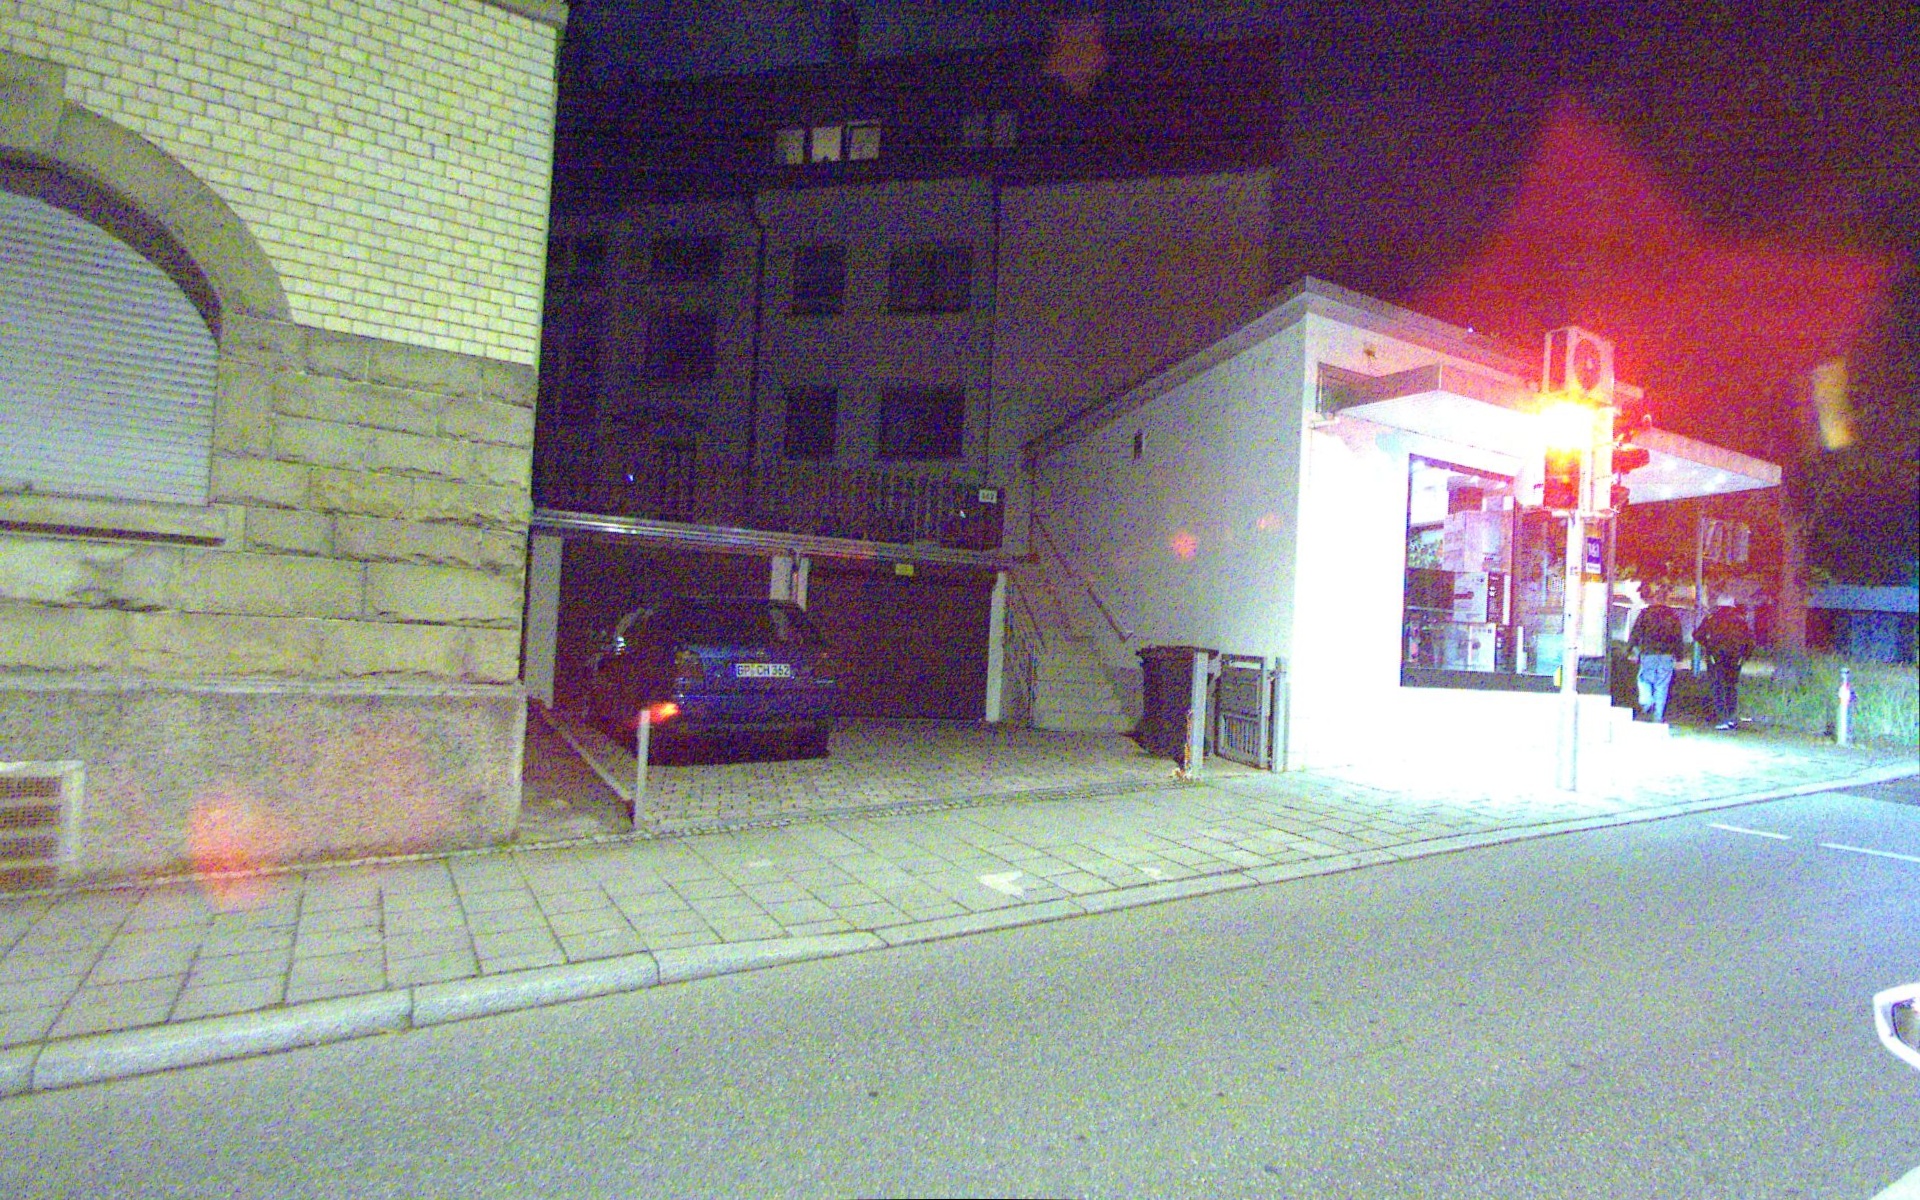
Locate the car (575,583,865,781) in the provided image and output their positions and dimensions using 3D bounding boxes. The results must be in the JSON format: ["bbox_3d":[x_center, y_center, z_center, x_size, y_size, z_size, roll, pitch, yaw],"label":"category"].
[{"bbox_3d":[-2.455,0.618,9.574,1.700,1.460,3.631,2,0,-30],"label":"car"}]

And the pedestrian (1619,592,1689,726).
[{"bbox_3d":[9.370,0.777,13.568,0.537,1.754,0.567,2,0,-30],"label":"pedestrian"}]

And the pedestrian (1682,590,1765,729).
[{"bbox_3d":[10.262,0.785,13.507,0.729,1.801,0.567,2,2,-30],"label":"pedestrian"}]
